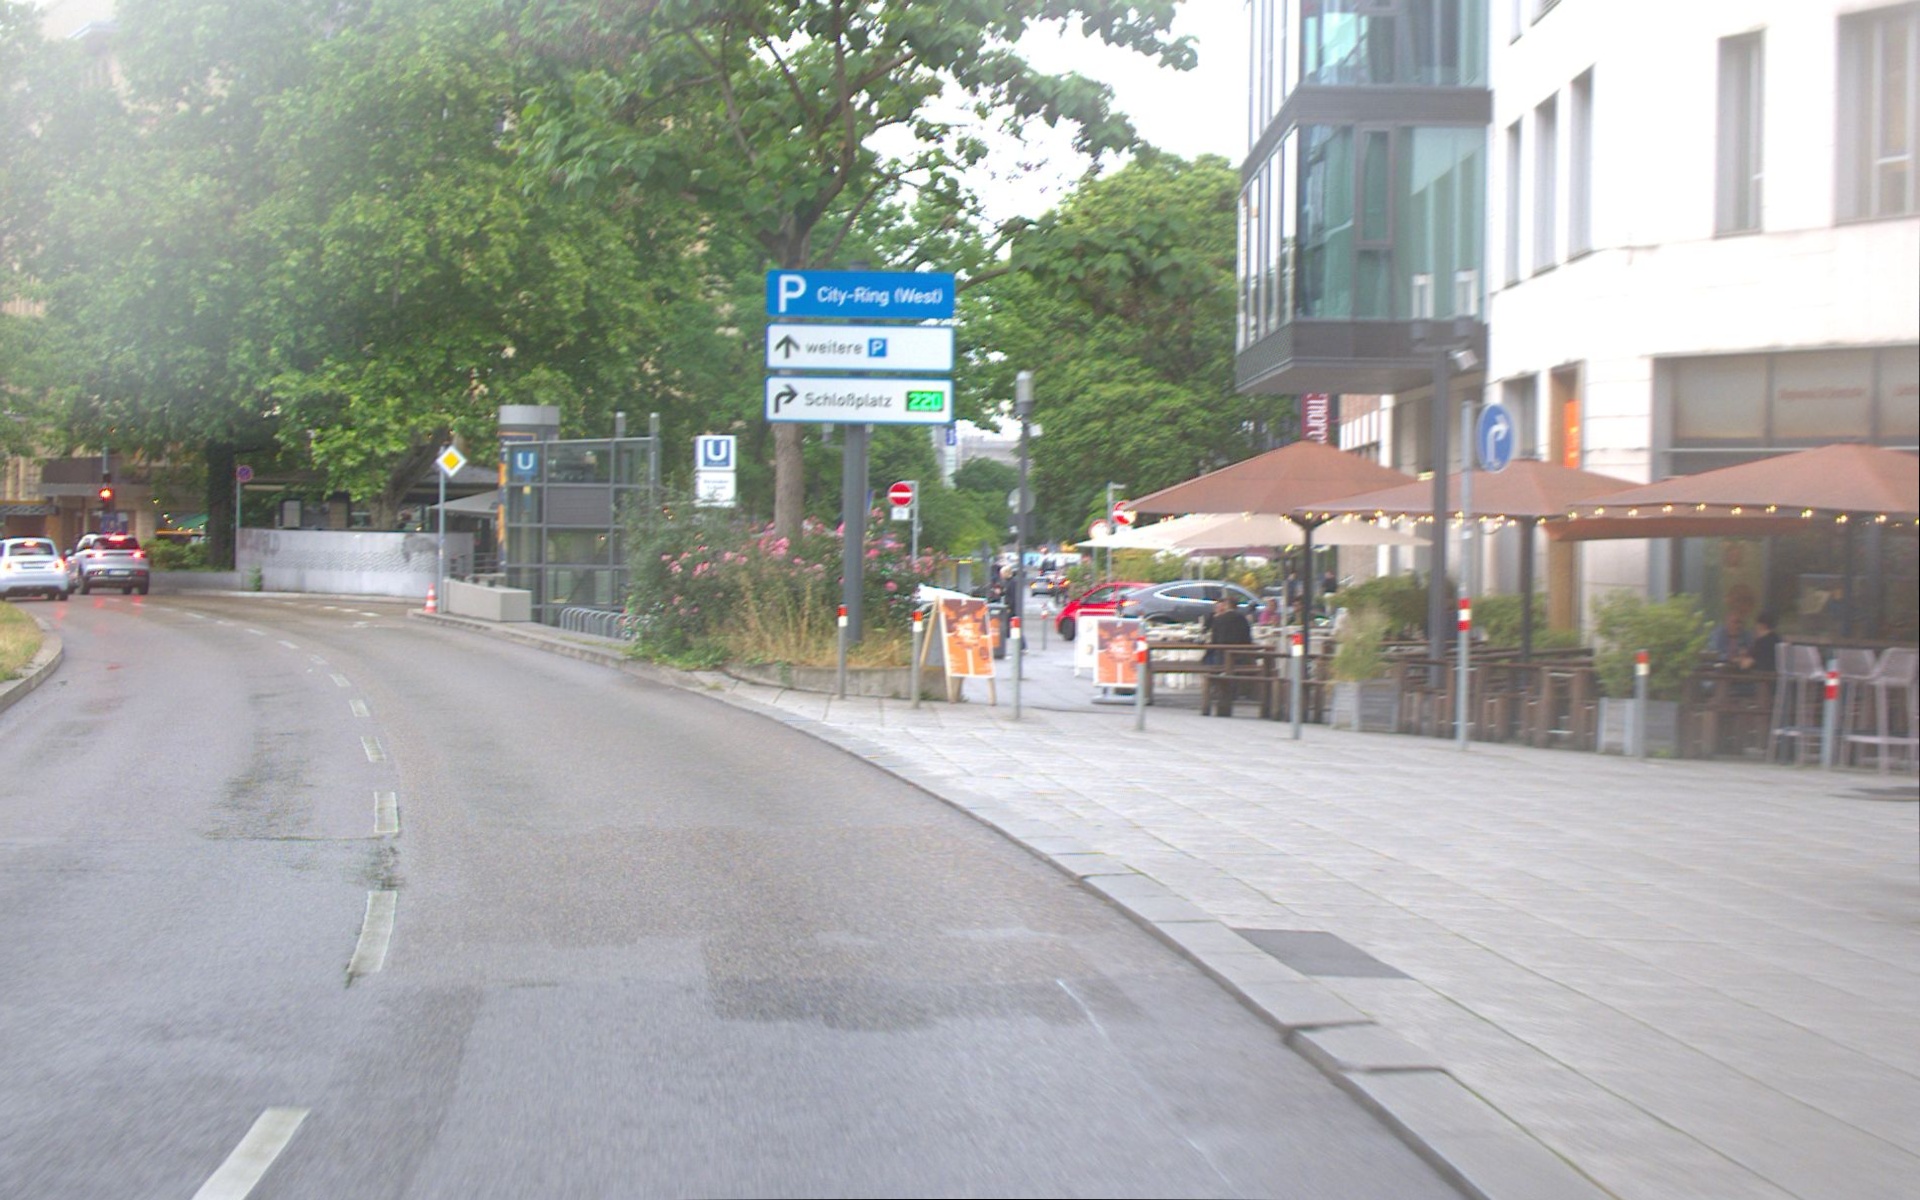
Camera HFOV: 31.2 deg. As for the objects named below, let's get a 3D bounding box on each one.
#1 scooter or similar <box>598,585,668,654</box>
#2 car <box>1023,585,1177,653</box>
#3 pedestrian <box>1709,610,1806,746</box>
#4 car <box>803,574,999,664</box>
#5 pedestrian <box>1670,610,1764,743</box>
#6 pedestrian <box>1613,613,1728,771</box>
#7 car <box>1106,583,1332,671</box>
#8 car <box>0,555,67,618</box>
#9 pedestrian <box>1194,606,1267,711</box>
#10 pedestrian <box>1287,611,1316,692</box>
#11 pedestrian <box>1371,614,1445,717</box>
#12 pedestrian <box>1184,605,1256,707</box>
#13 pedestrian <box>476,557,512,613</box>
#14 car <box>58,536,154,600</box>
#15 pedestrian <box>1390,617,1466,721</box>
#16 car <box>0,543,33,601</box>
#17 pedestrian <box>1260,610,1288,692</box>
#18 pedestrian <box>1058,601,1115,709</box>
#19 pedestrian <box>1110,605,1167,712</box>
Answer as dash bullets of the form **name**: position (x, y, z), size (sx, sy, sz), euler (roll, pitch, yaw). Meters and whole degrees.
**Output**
- **scooter or similar**: position (-5.686, 0.344, 59.796), size (1.112, 1.154, 0.443), euler (2, 0, -16)
- **car**: position (3.335, 0.449, 82.114), size (1.609, 1.411, 3.527), euler (3, 0, -42)
- **pedestrian**: position (8.037, 0.783, 34.645), size (0.626, 1.322, 0.636), euler (4, 0, -22)
- **car**: position (-1.303, 0.417, 74.640), size (4.096, 1.615, 1.863), euler (4, -1, -3)
- **pedestrian**: position (7.788, 0.784, 35.382), size (0.626, 1.322, 0.636), euler (4, 0, -22)
- **pedestrian**: position (6.214, 0.801, 30.078), size (0.773, 1.322, 0.636), euler (3, 0, -3)
- **car**: position (5.569, 0.567, 74.424), size (4.735, 1.685, 2.005), euler (2, 1, 2)
- **car**: position (-22.759, -0.345, 83.610), size (1.590, 1.486, 3.506), euler (-1, 1, -21)
- **pedestrian**: position (3.570, 0.767, 45.448), size (0.817, 1.322, 0.636), euler (3, 0, -2)
- **pedestrian**: position (5.897, 0.885, 59.372), size (0.434, 1.399, 0.478), euler (1, 0, 0)
- **pedestrian**: position (6.037, 0.878, 46.303), size (0.817, 1.322, 0.636), euler (3, 0, -2)
- **pedestrian**: position (3.500, 0.749, 46.279), size (0.817, 1.322, 0.636), euler (3, 0, -2)
- **pedestrian**: position (-11.980, -0.379, 88.390), size (0.684, 1.405, 0.905), euler (3, -1, -17)
- **car**: position (-23.442, -0.862, 94.285), size (1.946, 1.661, 4.346), euler (2, 0, -21)
- **pedestrian**: position (6.190, 0.911, 45.497), size (0.817, 1.322, 0.636), euler (3, 0, -2)
- **car**: position (-25.332, -0.731, 89.788), size (1.691, 1.458, 4.131), euler (-1, 1, -21)
- **pedestrian**: position (5.387, 0.878, 58.989), size (0.434, 1.399, 0.478), euler (1, 0, 0)
- **pedestrian**: position (1.608, 0.694, 43.641), size (0.606, 1.322, 0.567), euler (3, 0, -2)
- **pedestrian**: position (2.268, 0.741, 43.748), size (0.606, 1.322, 0.567), euler (3, 0, -2)
